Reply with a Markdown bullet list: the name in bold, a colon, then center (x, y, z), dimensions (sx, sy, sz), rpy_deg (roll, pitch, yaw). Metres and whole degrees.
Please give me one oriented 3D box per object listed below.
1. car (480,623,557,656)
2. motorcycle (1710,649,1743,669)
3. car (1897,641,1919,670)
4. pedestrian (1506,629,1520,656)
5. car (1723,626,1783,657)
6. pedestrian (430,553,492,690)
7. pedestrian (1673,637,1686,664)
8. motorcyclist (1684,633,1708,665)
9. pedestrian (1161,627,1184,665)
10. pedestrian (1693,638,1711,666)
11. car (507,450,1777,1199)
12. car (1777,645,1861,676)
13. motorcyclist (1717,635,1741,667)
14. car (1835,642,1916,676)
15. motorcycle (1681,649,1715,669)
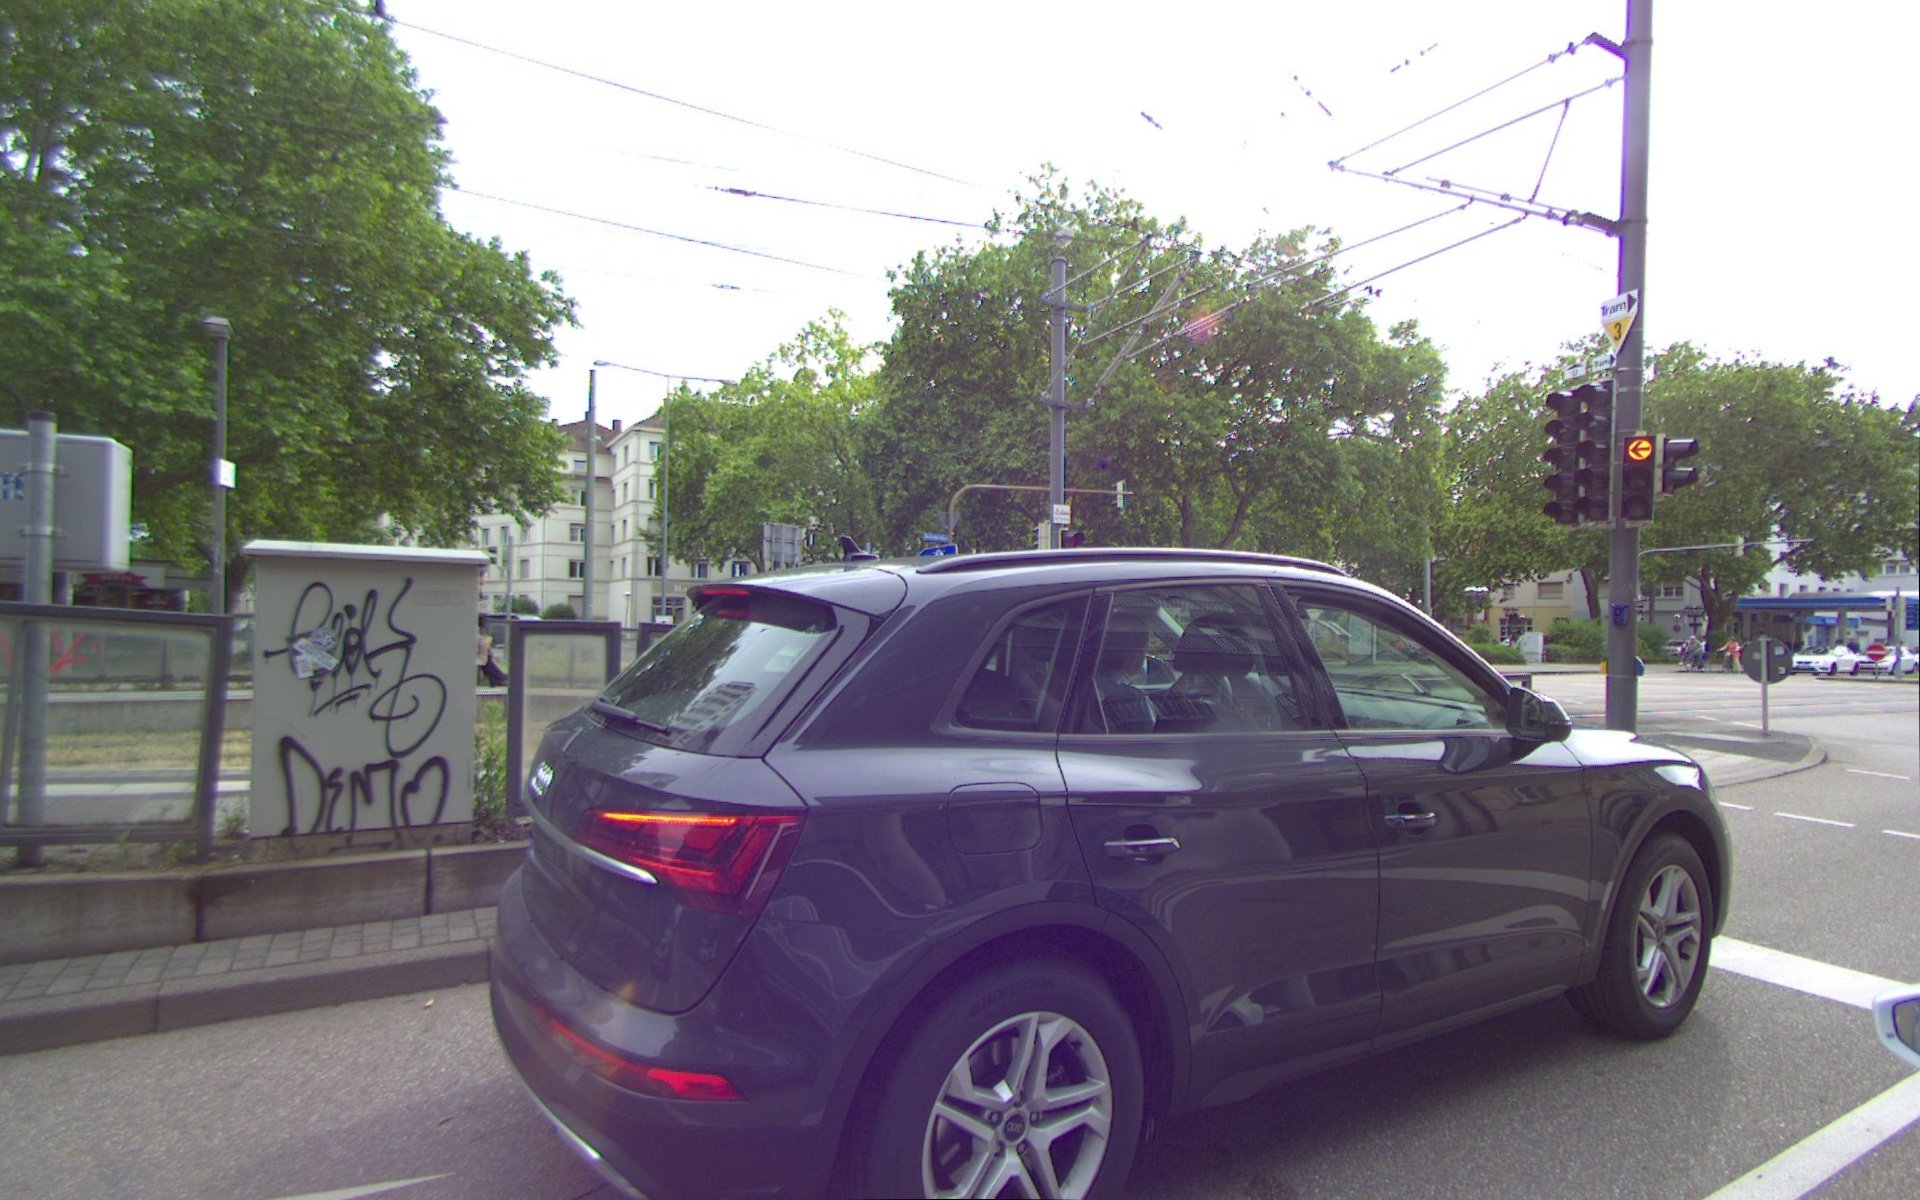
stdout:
- **car**: center (-24.556, 2.179, 55.850), dimensions (3.929, 1.706, 1.996), rpy_deg (0, -1, 31)
- **motorcycle**: center (36.914, 2.853, 48.366), dimensions (1.928, 0.941, 0.604), rpy_deg (2, -1, -30)
- **car**: center (52.777, 3.029, 54.608), dimensions (3.593, 1.497, 1.649), rpy_deg (2, 0, -29)
- **pedestrian**: center (35.893, 2.779, 65.219), dimensions (0.599, 1.723, 0.604), rpy_deg (1, -1, -1)
- **car**: center (54.859, 2.891, 69.512), dimensions (3.953, 2.040, 1.984), rpy_deg (2, -1, -30)
- **pedestrian**: center (-6.694, 0.280, 13.466), dimensions (0.658, 1.773, 0.732), rpy_deg (2, 0, -30)
- **pedestrian**: center (40.116, 2.835, 56.017), dimensions (0.421, 1.479, 0.474), rpy_deg (2, -1, -30)
- **motorcyclist**: center (35.853, 2.402, 48.933), dimensions (0.863, 1.540, 0.617), rpy_deg (2, -1, -30)
- **pedestrian**: center (8.633, 1.853, 40.810), dimensions (0.647, 1.530, 0.680), rpy_deg (0, -1, 39)
- **pedestrian**: center (40.836, 2.860, 55.263), dimensions (0.550, 1.499, 0.644), rpy_deg (2, -1, -30)
- **car**: center (0.824, 0.634, 3.461), dimensions (4.177, 1.658, 1.725), rpy_deg (2, 0, -30)
- **car**: center (41.336, 2.902, 48.319), dimensions (4.025, 1.338, 1.739), rpy_deg (2, 0, -29)
- **motorcyclist**: center (37.076, 2.449, 48.438), dimensions (0.863, 1.540, 0.617), rpy_deg (2, -1, -30)
- **car**: center (46.974, 3.017, 51.525), dimensions (3.953, 1.615, 1.984), rpy_deg (2, 0, -30)
- **motorcycle**: center (36.006, 2.854, 49.020), dimensions (1.928, 0.941, 0.604), rpy_deg (2, -1, -30)
